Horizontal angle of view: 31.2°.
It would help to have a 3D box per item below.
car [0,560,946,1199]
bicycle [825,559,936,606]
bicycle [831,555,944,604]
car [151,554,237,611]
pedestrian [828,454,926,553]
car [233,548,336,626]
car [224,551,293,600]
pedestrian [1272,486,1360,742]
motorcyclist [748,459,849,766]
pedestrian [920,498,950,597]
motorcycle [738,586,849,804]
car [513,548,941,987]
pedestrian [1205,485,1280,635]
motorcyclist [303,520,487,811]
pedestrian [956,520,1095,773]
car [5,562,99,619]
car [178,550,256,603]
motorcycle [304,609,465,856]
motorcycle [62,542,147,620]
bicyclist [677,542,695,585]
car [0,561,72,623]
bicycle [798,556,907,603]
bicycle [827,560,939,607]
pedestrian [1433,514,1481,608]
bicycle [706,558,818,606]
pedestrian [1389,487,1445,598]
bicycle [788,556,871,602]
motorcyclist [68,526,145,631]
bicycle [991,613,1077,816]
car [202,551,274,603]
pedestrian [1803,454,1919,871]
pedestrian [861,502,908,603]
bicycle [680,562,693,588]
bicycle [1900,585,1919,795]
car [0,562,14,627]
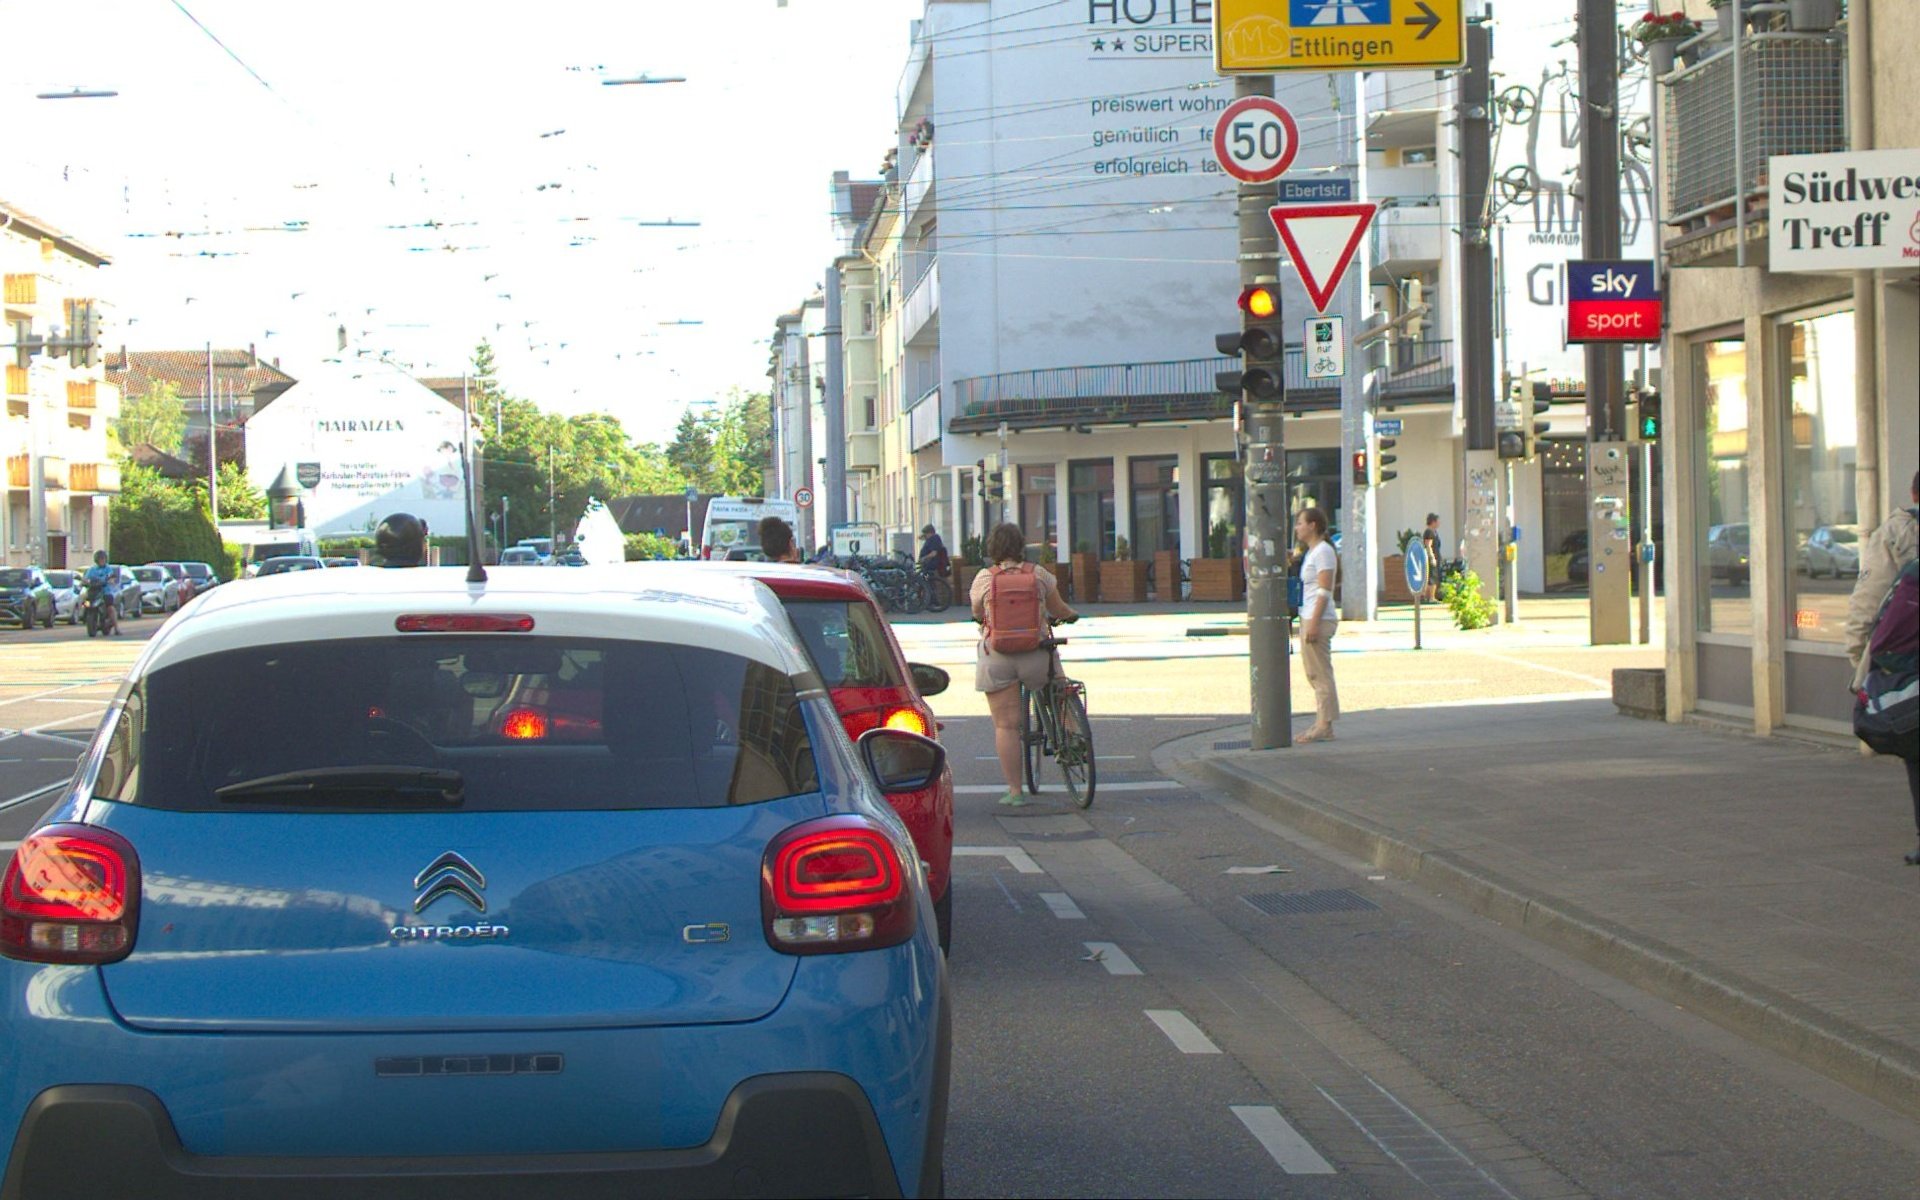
[{"bbox_3d":[-0.879,0.649,7.179,1.654,1.439,3.523,1,1,-1],"label":"car"},{"bbox_3d":[-1.563,-0.345,67.361,2.132,0.898,0.367,1,0,-9],"label":"bicycle"},{"bbox_3d":[-1.388,-0.394,65.930,2.132,0.898,0.367,1,0,-9],"label":"bicycle"},{"bbox_3d":[-23.632,-0.552,106.202,1.983,1.681,4.001,1,1,-3],"label":"car"},{"bbox_3d":[-1.749,-2.030,73.520,1.993,2.007,4.000,1,1,-1],"label":"pedestrian"},{"bbox_3d":[-14.992,-0.301,76.415,1.774,1.660,3.857,1,1,-4],"label":"car"},{"bbox_3d":[-24.737,-0.882,121.347,1.846,1.681,3.875,1,1,-4],"label":"car"},{"bbox_3d":[2.508,0.095,24.266,0.517,1.777,0.595,1,0,-2],"label":"pedestrian"},{"bbox_3d":[-0.915,0.066,19.608,0.526,1.710,0.717,1,0,-1],"label":"motorcyclist"},{"bbox_3d":[-0.511,-1.078,70.220,0.577,2.007,0.626,1,0,-3],"label":"pedestrian"},{"bbox_3d":[-0.922,0.501,19.426,0.526,1.136,2.290,1,1,-1],"label":"motorcycle"},{"bbox_3d":[-0.809,0.559,13.157,1.424,1.462,2.924,-1,0,-1],"label":"car"},{"bbox_3d":[3.846,-0.544,46.923,0.926,2.007,0.759,1,0,-1],"label":"pedestrian"},{"bbox_3d":[-2.974,0.337,18.154,0.860,1.500,0.598,1,0,-1],"label":"motorcyclist"},{"bbox_3d":[0.379,0.266,20.217,0.777,1.455,0.682,1,0,-1],"label":"pedestrian"},{"bbox_3d":[-24.319,-0.272,92.191,1.732,1.493,4.001,1,1,-5],"label":"car"},{"bbox_3d":[-24.040,-0.773,111.329,1.882,1.681,4.001,1,1,-4],"label":"car"},{"bbox_3d":[-3.049,0.672,18.353,0.537,1.215,1.981,1,1,-1],"label":"motorcycle"},{"bbox_3d":[-16.681,-0.381,67.131,0.923,1.481,3.726,1,1,-3],"label":"motorcycle"},{"bbox_3d":[-9.596,-1.276,120.378,0.561,1.472,0.748,1,0,-3],"label":"bicyclist"},{"bbox_3d":[-23.543,-0.209,86.091,1.785,1.493,4.001,1,1,-4],"label":"car"},{"bbox_3d":[-2.134,-0.404,68.328,2.132,0.898,0.367,1,0,-9],"label":"bicycle"},{"bbox_3d":[-1.502,-0.321,66.962,2.132,0.898,0.367,1,0,-9],"label":"bicycle"},{"bbox_3d":[8.519,-0.670,58.863,0.736,1.595,0.748,1,0,13],"label":"pedestrian"},{"bbox_3d":[-3.819,-0.346,66.269,2.132,0.898,0.367,1,0,-9],"label":"bicycle"},{"bbox_3d":[8.302,-1.047,62.405,0.758,2.007,0.710,1,0,31],"label":"pedestrian"},{"bbox_3d":[-2.638,-0.432,69.253,1.785,0.898,0.366,1,1,34],"label":"bicycle"},{"bbox_3d":[-16.685,-0.434,67.225,1.185,2.007,1.276,-1,1,-3],"label":"motorcyclist"},{"bbox_3d":[0.428,0.651,20.493,0.427,1.119,1.998,1,1,-1],"label":"bicycle"},{"bbox_3d":[-24.480,-0.788,116.654,1.833,1.681,4.001,1,1,-4],"label":"car"},{"bbox_3d":[3.828,0.238,13.491,0.825,1.587,0.751,1,0,-1],"label":"pedestrian"},{"bbox_3d":[-1.518,-0.951,69.184,0.630,2.007,0.724,1,0,-36],"label":"pedestrian"},{"bbox_3d":[-9.615,-0.869,120.826,0.349,0.900,1.859,1,1,-2],"label":"bicycle"},{"bbox_3d":[4.848,0.437,15.828,0.542,0.995,1.706,1,1,-1],"label":"bicycle"},{"bbox_3d":[-23.216,-0.127,79.223,1.787,1.506,4.150,1,1,-2],"label":"car"}]
